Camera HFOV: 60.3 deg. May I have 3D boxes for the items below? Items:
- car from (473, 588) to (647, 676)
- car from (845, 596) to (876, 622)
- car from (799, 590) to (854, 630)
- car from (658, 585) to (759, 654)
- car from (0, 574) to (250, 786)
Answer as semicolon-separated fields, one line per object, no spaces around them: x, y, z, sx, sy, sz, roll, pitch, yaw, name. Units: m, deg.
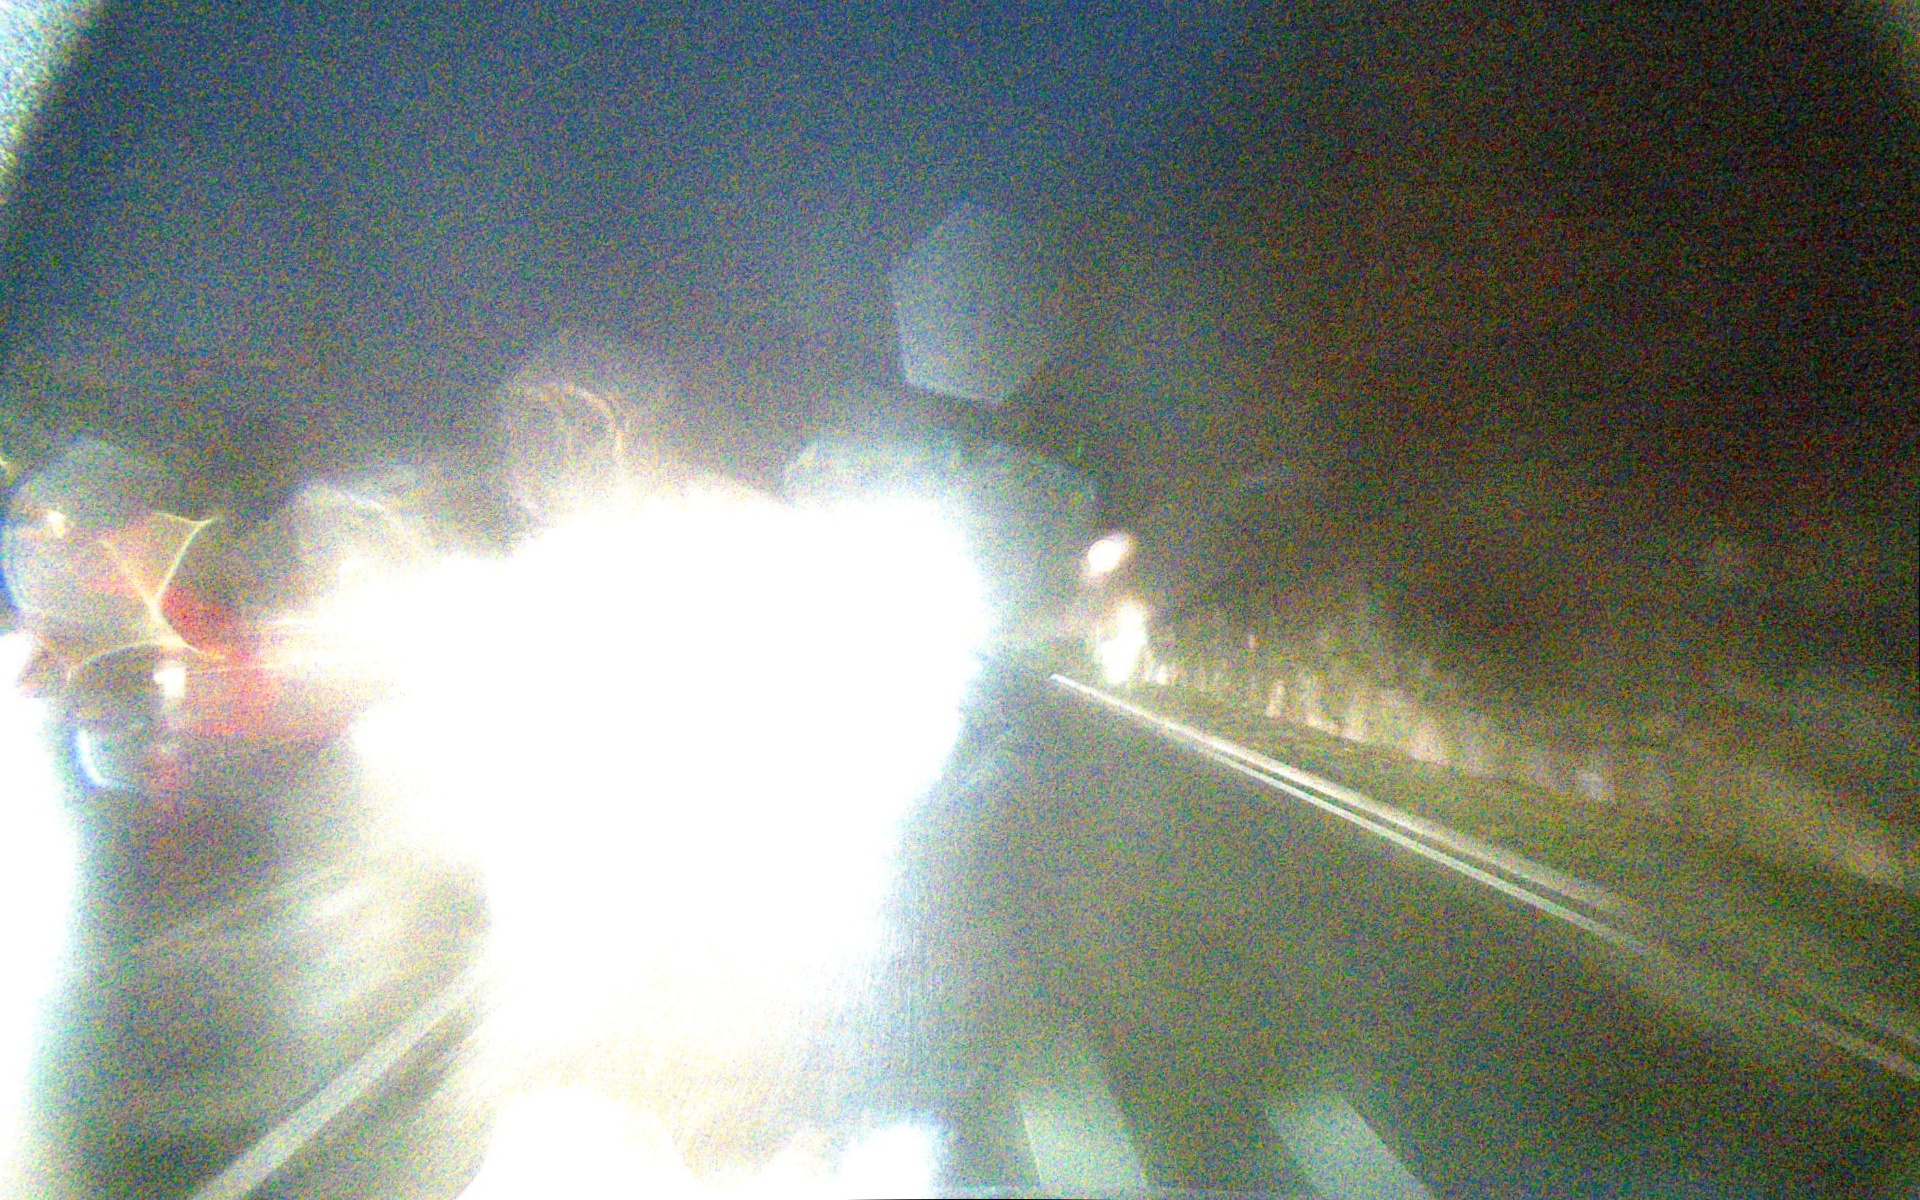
-7.789;0.577;32.721;2.040;1.569;4.900;1;0;2;car
-6.656;0.572;110.599;1.884;1.643;4.084;2;0;-2;car
-5.676;0.419;70.742;2.068;1.603;4.678;2;0;-2;car
-7.430;0.549;49.447;1.952;1.897;5.321;1;0;3;car
-8.201;0.579;13.739;2.136;1.586;5.205;1;0;2;car
